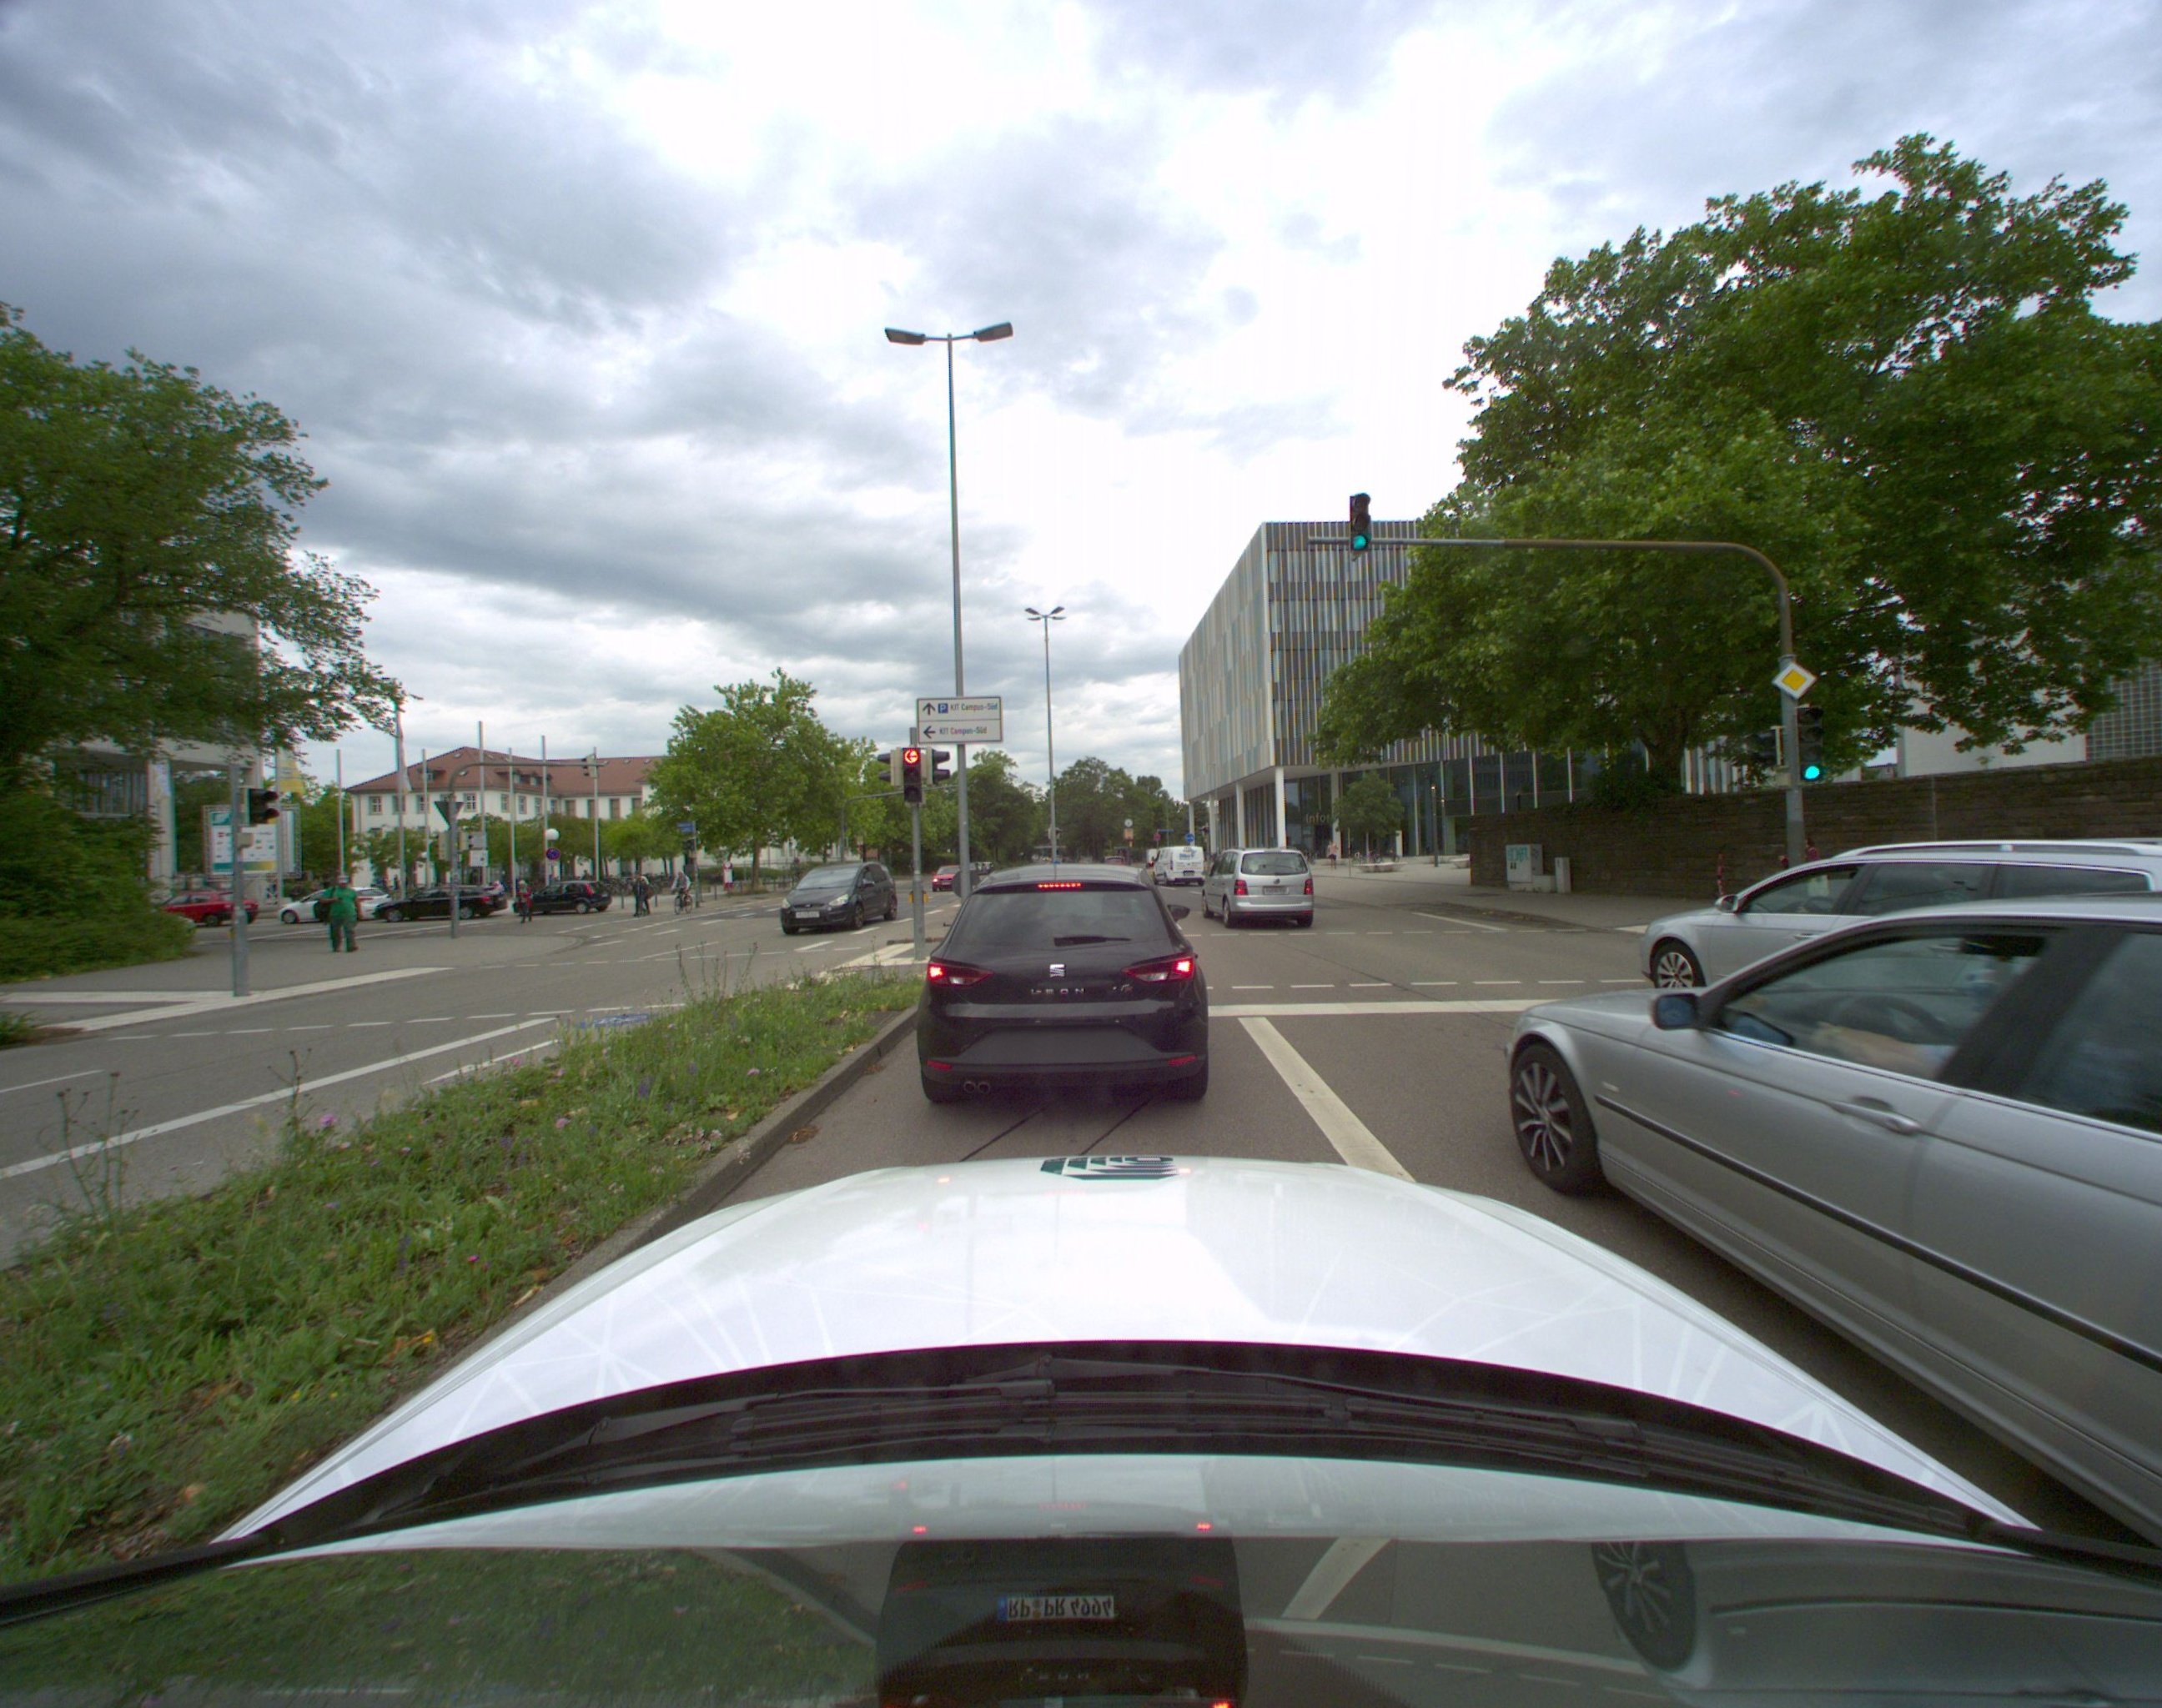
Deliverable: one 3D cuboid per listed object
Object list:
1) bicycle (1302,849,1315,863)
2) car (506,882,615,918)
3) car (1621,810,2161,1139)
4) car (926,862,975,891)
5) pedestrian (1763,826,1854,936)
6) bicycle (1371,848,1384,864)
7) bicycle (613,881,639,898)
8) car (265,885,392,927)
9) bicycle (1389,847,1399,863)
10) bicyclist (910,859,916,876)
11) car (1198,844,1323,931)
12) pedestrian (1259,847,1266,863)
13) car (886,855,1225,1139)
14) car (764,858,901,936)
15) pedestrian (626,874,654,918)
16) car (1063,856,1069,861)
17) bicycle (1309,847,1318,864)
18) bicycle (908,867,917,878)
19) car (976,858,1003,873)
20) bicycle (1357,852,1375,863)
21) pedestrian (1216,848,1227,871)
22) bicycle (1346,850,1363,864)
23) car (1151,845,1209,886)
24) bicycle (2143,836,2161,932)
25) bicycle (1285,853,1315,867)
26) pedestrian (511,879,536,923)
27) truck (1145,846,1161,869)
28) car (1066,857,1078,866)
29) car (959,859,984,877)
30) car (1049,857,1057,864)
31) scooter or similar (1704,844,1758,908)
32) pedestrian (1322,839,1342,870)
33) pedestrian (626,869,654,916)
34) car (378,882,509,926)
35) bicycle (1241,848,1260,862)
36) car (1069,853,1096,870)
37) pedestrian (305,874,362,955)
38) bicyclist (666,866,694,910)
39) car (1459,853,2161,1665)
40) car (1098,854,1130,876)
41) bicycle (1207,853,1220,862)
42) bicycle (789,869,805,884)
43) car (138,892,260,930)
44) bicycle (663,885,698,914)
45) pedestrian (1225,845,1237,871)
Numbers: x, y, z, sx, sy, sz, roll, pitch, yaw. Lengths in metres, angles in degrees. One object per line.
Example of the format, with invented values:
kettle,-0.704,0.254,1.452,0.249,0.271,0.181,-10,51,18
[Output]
bicycle,18.792,0.147,67.171,0.614,1.045,1.716,-3,0,28
car,-23.091,2.045,36.239,3.649,1.223,1.562,-2,7,-5
car,6.150,0.602,5.820,1.817,1.551,4.532,0,-1,4
car,-7.301,1.235,46.072,1.706,1.418,4.299,-3,0,4
pedestrian,10.988,0.399,12.322,0.657,1.561,0.636,-6,0,1
bicycle,21.660,0.123,59.514,0.802,1.056,1.959,-3,0,21
bicycle,-31.086,2.407,55.704,1.405,1.052,0.585,-4,0,-19
car,-33.047,2.275,35.840,3.868,1.539,1.684,-2,2,-2
bicycle,22.536,0.061,58.568,0.616,1.056,1.959,-3,0,21
bicyclist,-16.743,1.365,81.042,0.489,1.624,0.588,0,1,0
car,3.697,0.634,17.502,1.724,1.603,4.104,-1,0,-1
pedestrian,15.315,0.067,68.790,0.469,1.361,0.447,-3,0,12
car,-0.002,0.744,6.102,1.745,1.432,3.773,-1,0,4
car,-6.167,0.995,20.822,1.913,1.664,4.400,-4,0,2
pedestrian,-16.185,1.529,29.909,0.791,1.558,0.695,-2,-4,-19
car,-3.864,1.037,205.703,1.501,1.193,3.161,-4,0,-2
bicycle,18.404,0.126,64.386,0.522,1.253,1.674,-3,0,20
bicycle,-16.741,1.854,81.052,0.486,1.005,1.590,-1,1,2
car,-10.965,1.406,97.996,1.746,1.587,4.016,-3,0,15
bicycle,21.189,0.284,60.569,1.535,0.716,0.513,-4,0,-42
pedestrian,9.956,0.396,57.575,0.684,1.640,0.633,-1,0,1
bicycle,20.582,0.202,61.260,0.688,0.946,1.997,-3,0,32
car,4.999,0.536,41.690,1.964,1.972,4.334,0,0,-6
bicycle,13.723,0.346,9.199,0.801,1.174,1.952,-5,0,-3
bicycle,15.110,0.413,56.260,1.892,0.898,0.693,-4,0,-20
pedestrian,-20.435,1.725,29.840,0.572,1.526,0.842,-2,-5,-22
truck,7.431,0.381,83.915,1.313,2.243,3.403,-3,0,2
car,-1.507,1.287,135.069,1.894,1.354,3.880,-4,0,-2
car,-11.692,1.467,87.085,1.899,1.716,4.002,-3,0,2
car,-6.974,1.512,199.527,1.692,1.503,4.003,-4,0,-5
scooter or similar,13.093,0.415,16.446,0.428,1.179,1.714,-4,0,26
pedestrian,14.770,0.007,47.919,0.844,1.764,0.768,-3,0,1
pedestrian,-17.019,1.483,31.438,0.843,1.740,0.824,-2,-5,-22
car,-27.573,2.148,35.356,4.059,1.452,1.615,-3,5,-16
bicycle,16.175,0.076,77.789,1.785,1.211,0.564,-4,0,-32
car,0.138,0.813,85.975,1.916,1.664,4.096,-4,0,-13
pedestrian,-17.131,1.355,18.685,0.948,1.759,0.865,0,-2,-42
bicyclist,-15.293,1.271,31.069,0.665,1.635,0.959,-1,-1,-7
car,2.813,0.735,2.168,1.716,1.414,4.247,-1,0,1
car,2.520,0.831,63.249,1.946,1.624,3.742,-1,1,-5
bicycle,14.943,0.360,91.890,1.379,0.941,0.489,-3,0,8
bicycle,-21.055,1.659,60.400,0.606,1.060,2.041,-3,0,-4
car,-38.191,2.434,35.327,3.341,1.479,1.559,-1,0,-5
bicycle,-15.315,1.729,31.168,0.665,1.062,1.615,-1,-1,-7
pedestrian,10.583,0.299,57.573,0.684,1.781,0.677,-2,0,1
